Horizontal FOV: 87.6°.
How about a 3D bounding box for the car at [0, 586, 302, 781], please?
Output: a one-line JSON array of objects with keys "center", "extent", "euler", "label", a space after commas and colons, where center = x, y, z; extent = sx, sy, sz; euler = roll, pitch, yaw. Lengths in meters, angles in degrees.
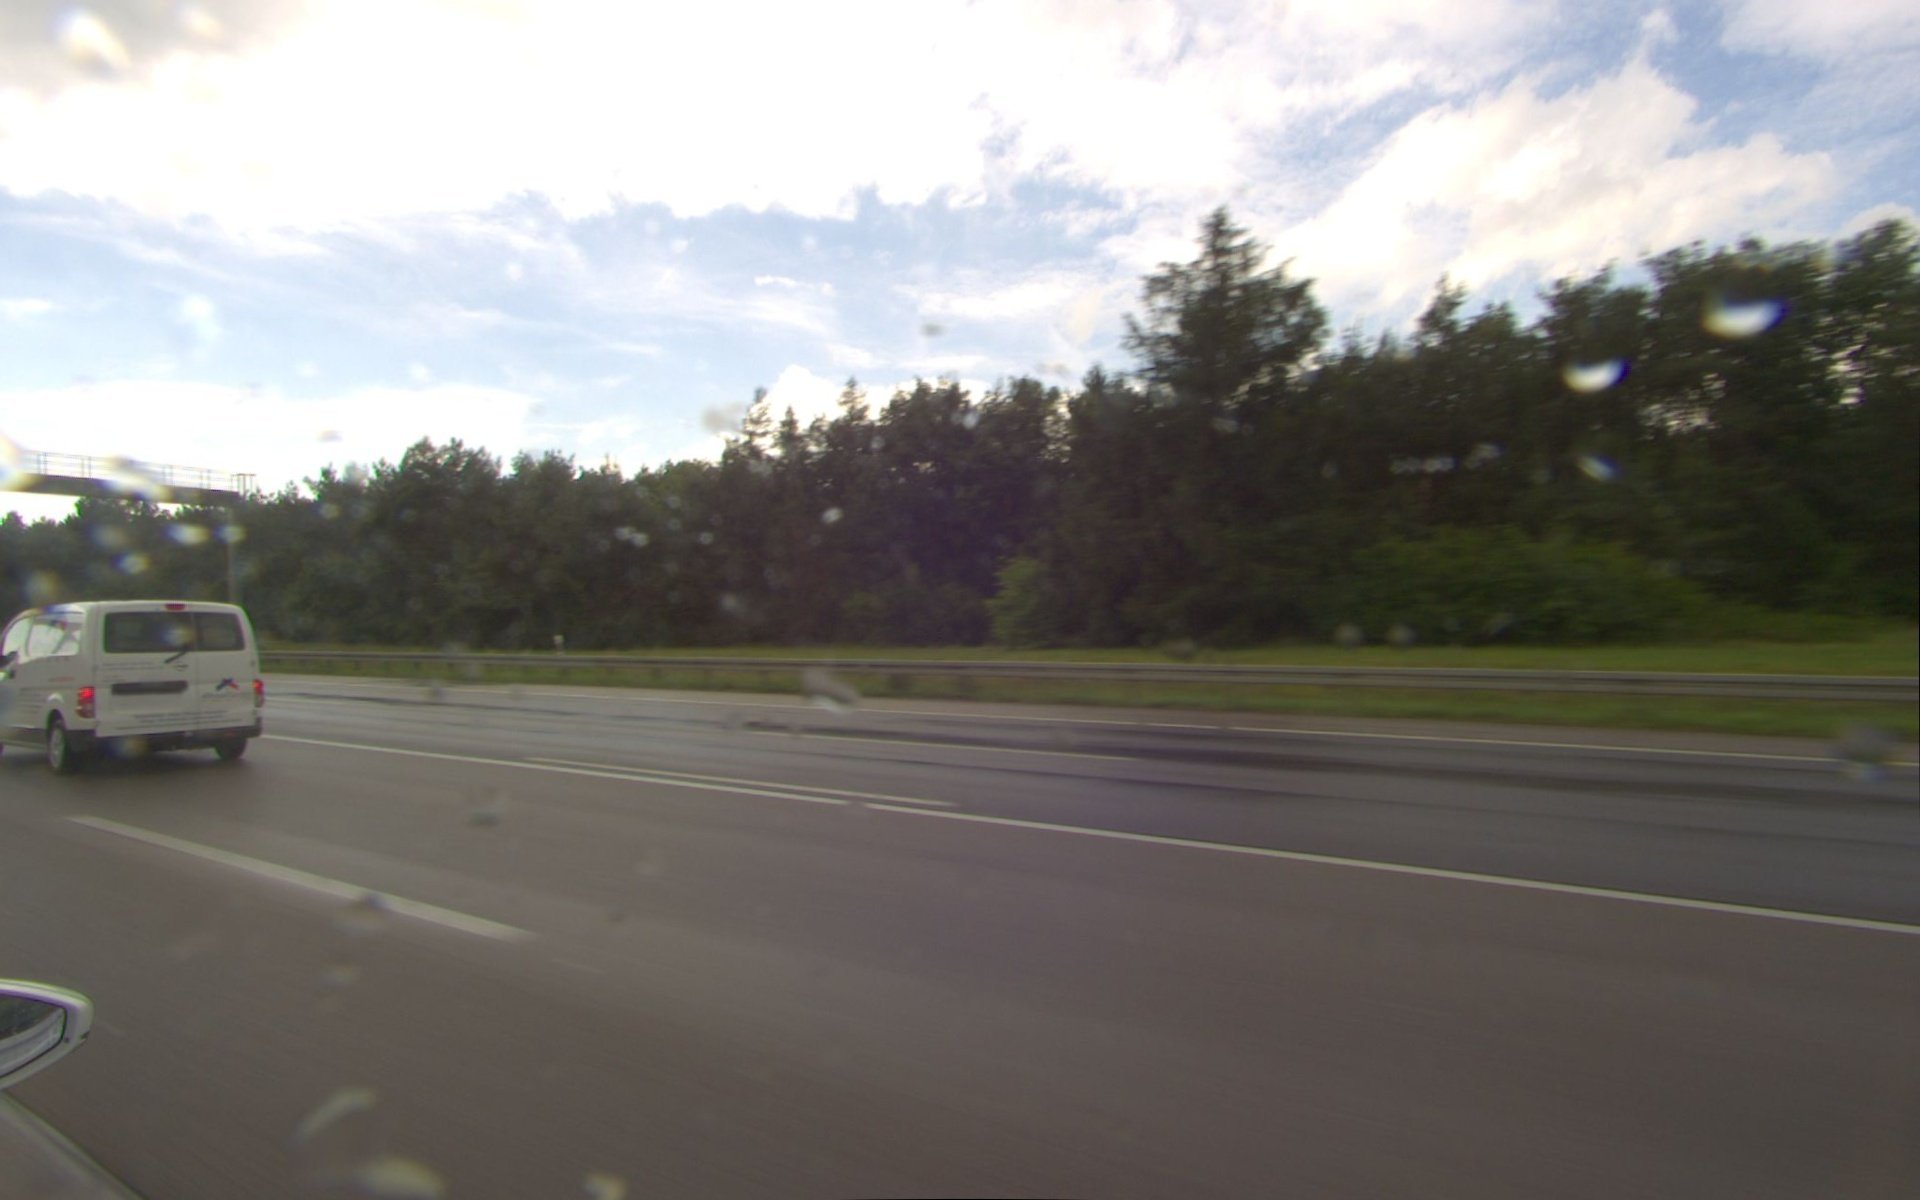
[{"center": [-10.138, 0.885, 12.042], "extent": [4.812, 1.926, 1.960], "euler": [-1, -1, 33], "label": "car"}]
